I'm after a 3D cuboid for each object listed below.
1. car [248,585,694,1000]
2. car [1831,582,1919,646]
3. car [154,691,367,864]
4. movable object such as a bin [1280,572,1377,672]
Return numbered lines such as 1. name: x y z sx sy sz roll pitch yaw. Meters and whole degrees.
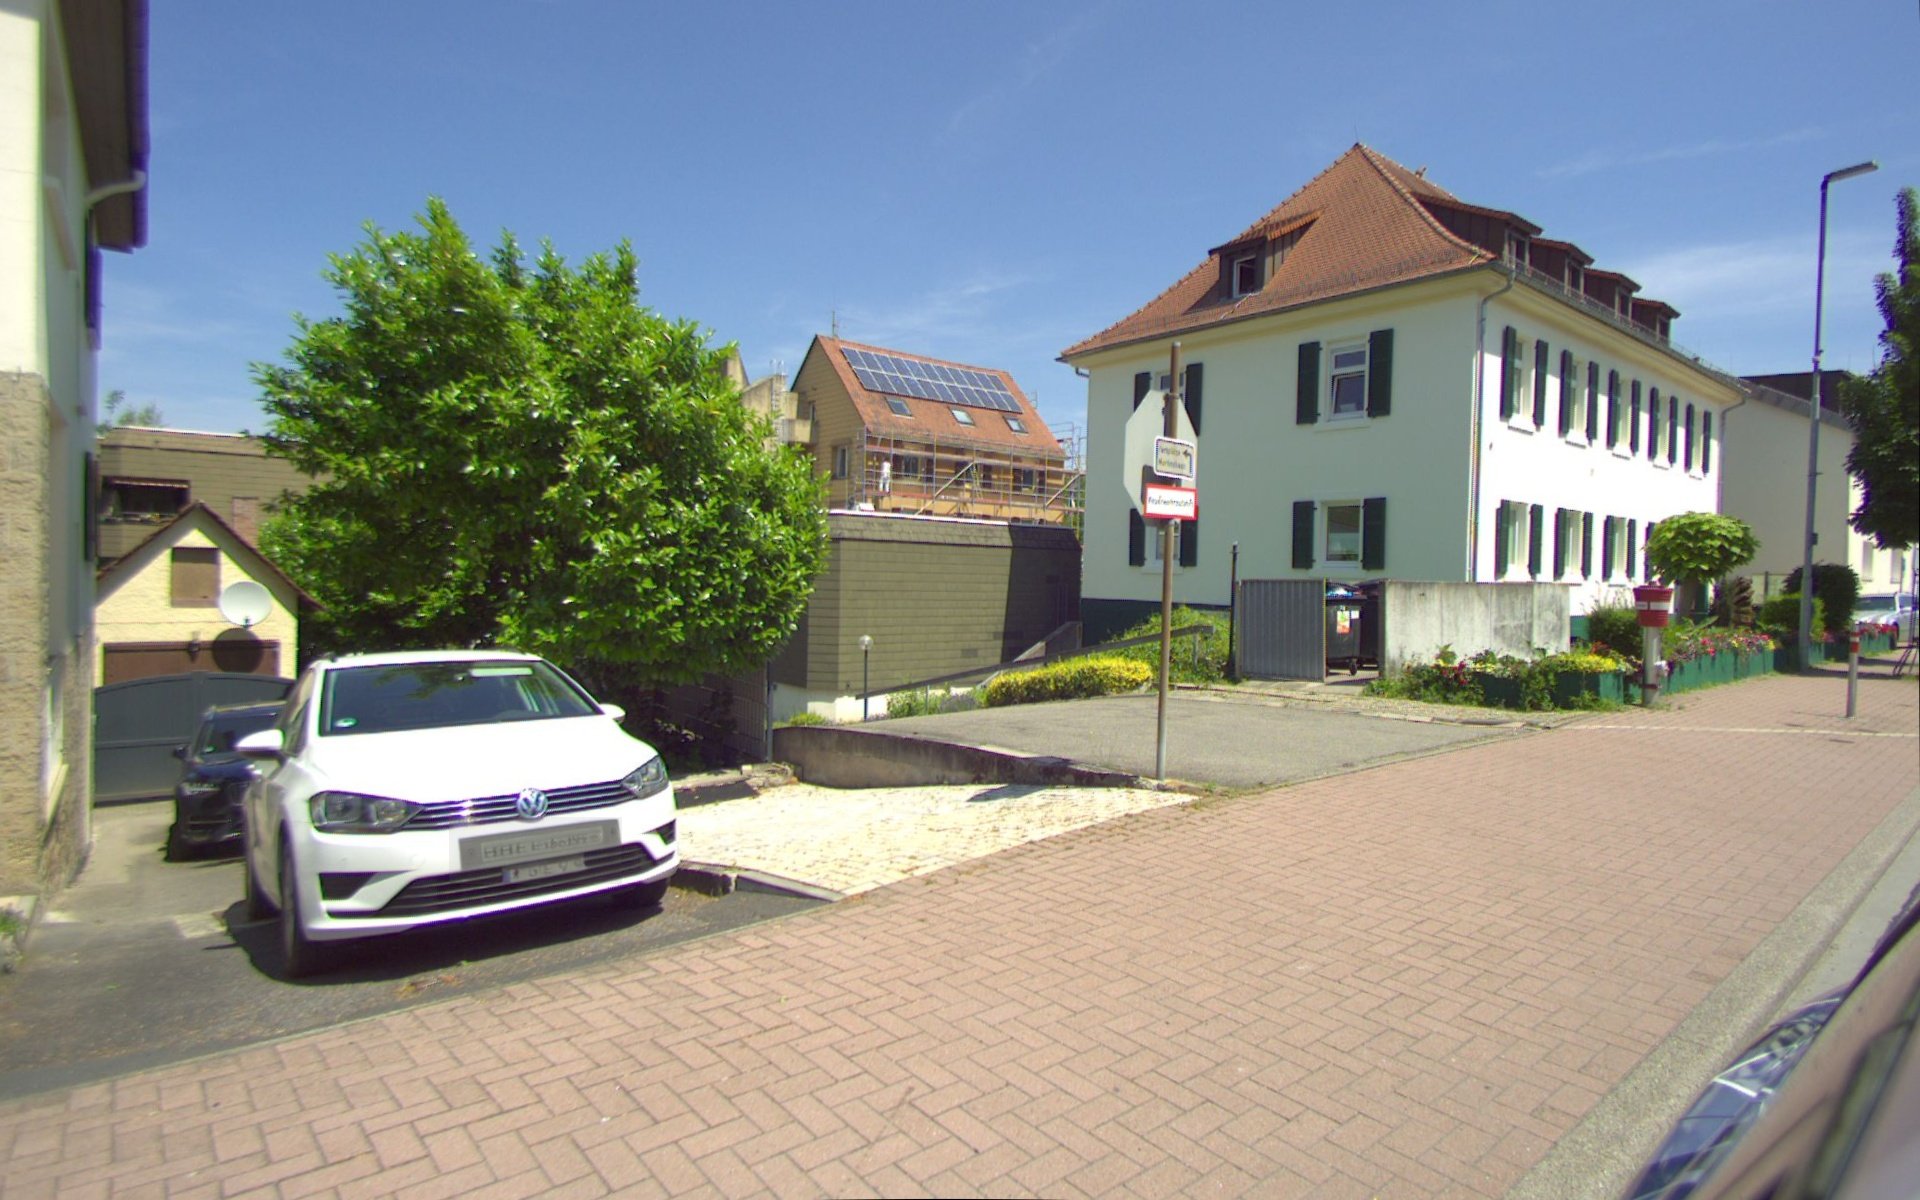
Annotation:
1. car: -3.129 0.996 5.941 1.607 1.571 3.965 0 -8 -37
2. car: 24.299 0.316 26.487 4.356 1.549 1.509 0 0 -39
3. car: -9.256 2.171 13.248 1.840 1.752 3.991 -1 -4 -41
4. movable object such as a bin: 5.575 0.325 15.341 0.884 1.449 1.052 0 -1 -38
